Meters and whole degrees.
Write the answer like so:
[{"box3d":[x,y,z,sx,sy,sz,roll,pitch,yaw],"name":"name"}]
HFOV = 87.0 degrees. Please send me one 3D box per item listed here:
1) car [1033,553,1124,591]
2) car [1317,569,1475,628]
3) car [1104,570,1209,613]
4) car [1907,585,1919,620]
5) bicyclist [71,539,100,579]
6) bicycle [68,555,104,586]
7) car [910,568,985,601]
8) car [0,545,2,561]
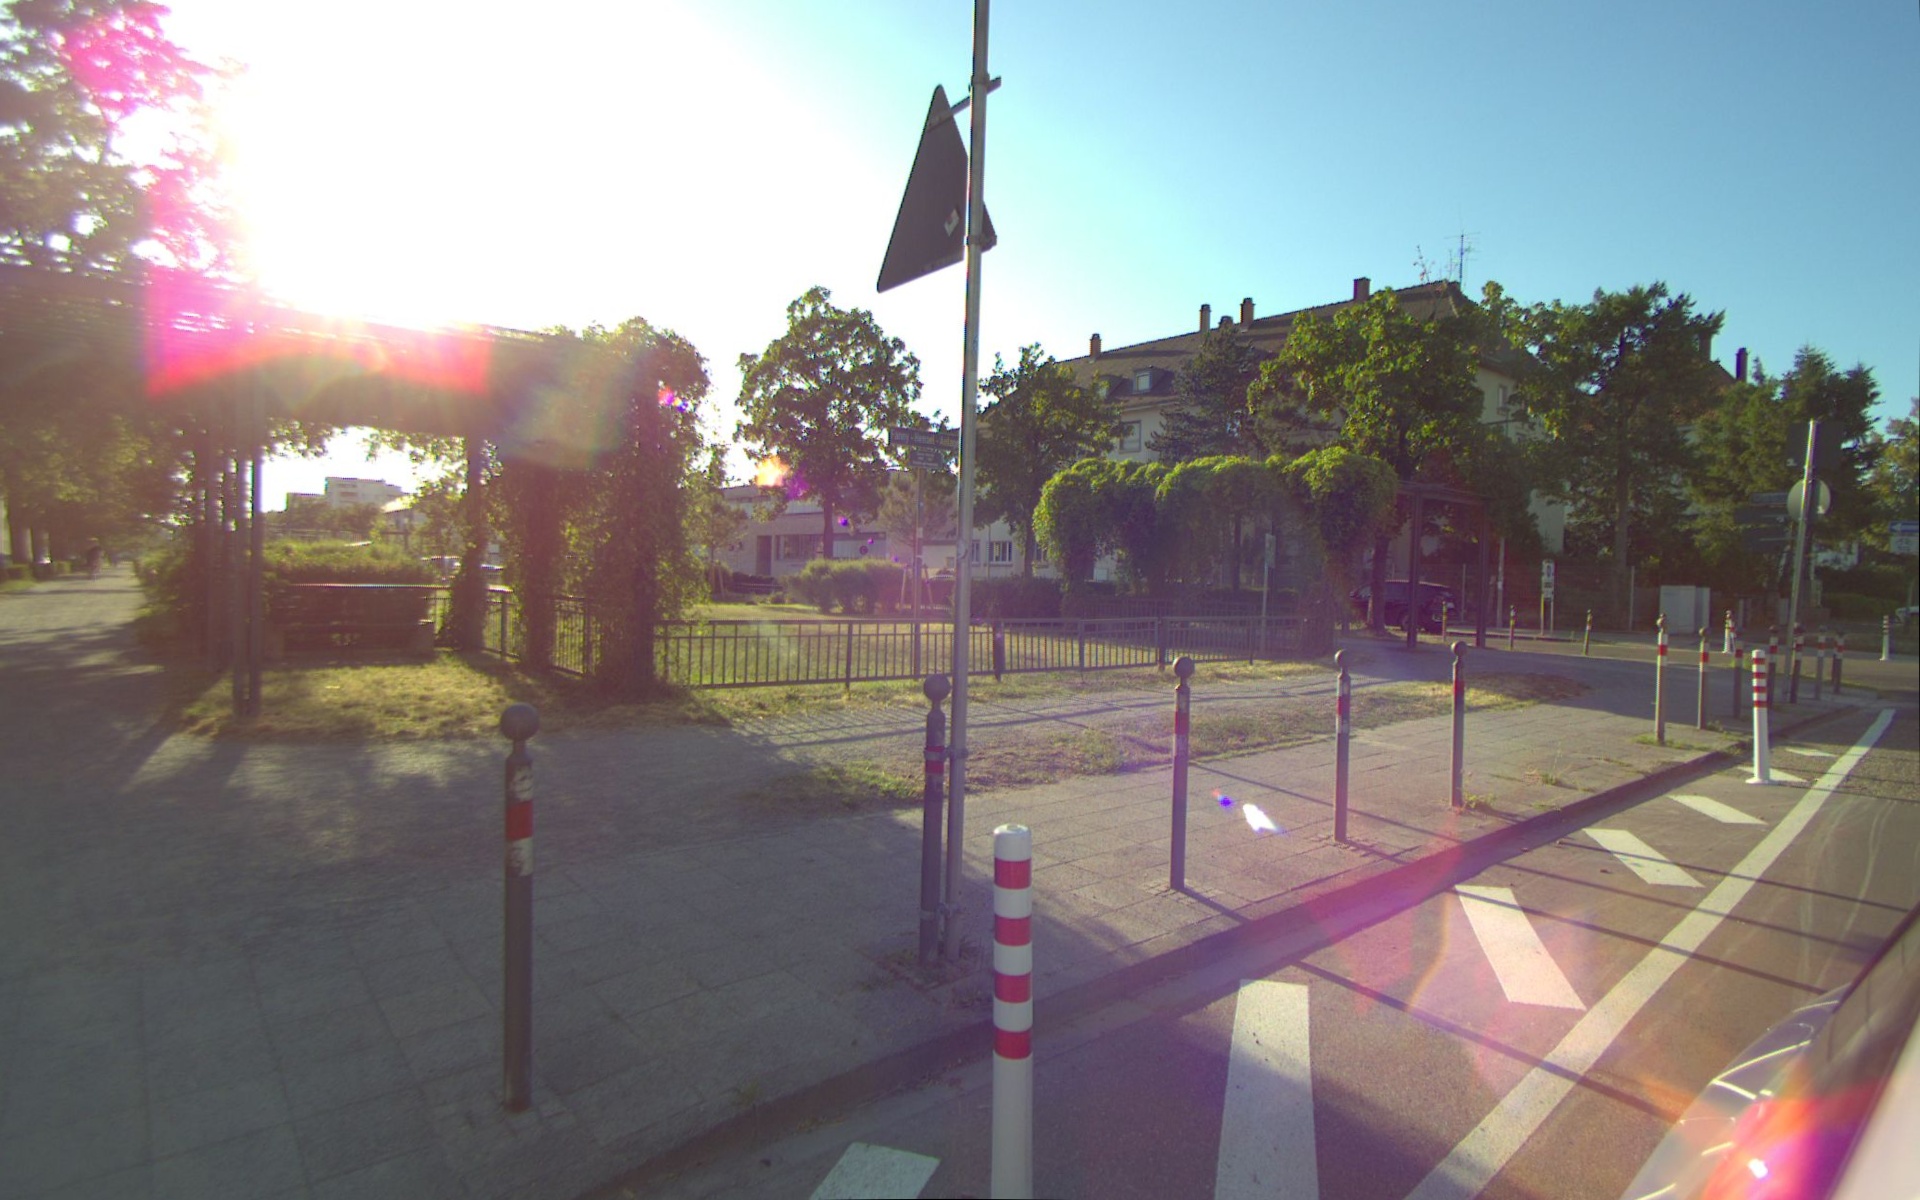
[{"box3d":[5.028,-1.212,43.353,1.704,1.537,3.757,0,2,-39],"name":"car"},{"box3d":[13.701,-0.069,31.968,1.790,1.662,4.211,3,0,-40],"name":"car"},{"box3d":[7.505,-0.362,38.913,1.738,1.544,3.773,-1,2,-36],"name":"car"},{"box3d":[46.410,0.189,45.924,1.938,1.634,4.831,0,2,-41],"name":"car"},{"box3d":[-36.445,-1.707,42.165,0.862,1.668,0.848,2,1,44],"name":"bicyclist"},{"box3d":[-36.385,-1.224,42.106,3.099,1.236,0.874,3,2,44],"name":"bicycle"},{"box3d":[-0.645,-0.809,50.509,1.740,1.544,3.768,-2,3,-40],"name":"car"},{"box3d":[-96.121,-4.655,99.906,1.796,1.535,3.754,0,2,-36],"name":"car"}]
